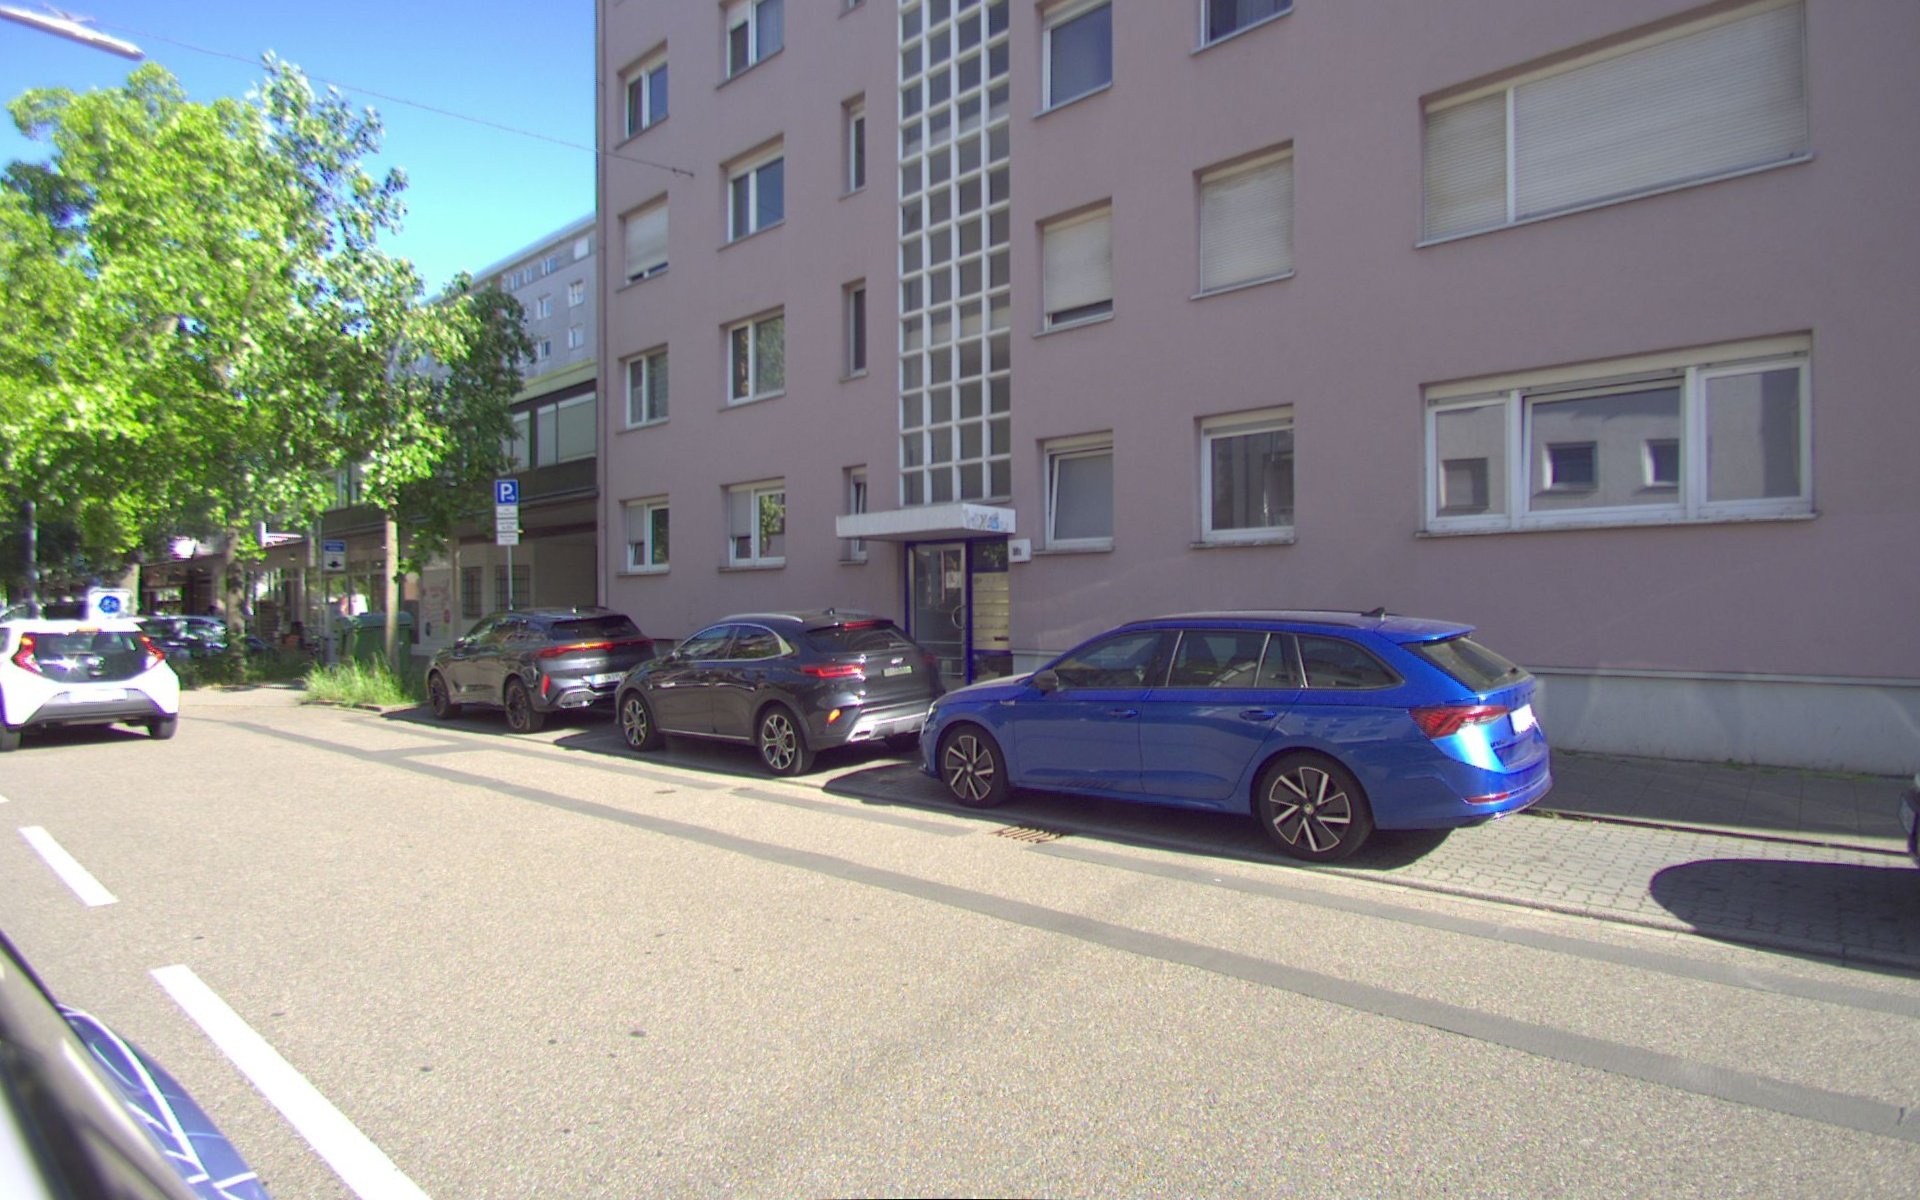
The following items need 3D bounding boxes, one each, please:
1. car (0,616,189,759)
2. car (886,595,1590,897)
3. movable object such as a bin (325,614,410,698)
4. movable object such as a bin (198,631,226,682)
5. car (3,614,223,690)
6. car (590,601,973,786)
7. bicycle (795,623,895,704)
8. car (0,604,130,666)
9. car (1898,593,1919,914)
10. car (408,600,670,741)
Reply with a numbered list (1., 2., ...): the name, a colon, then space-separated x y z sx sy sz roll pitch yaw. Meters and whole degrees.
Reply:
1. car: -11.548 0.999 12.820 3.776 1.548 1.750 -1 -1 34
2. car: 1.715 0.783 7.322 4.610 1.476 1.700 -1 1 41
3. movable object such as a bin: -11.576 1.063 19.774 1.230 1.557 1.019 0 -1 -44
4. movable object such as a bin: -18.489 1.381 25.023 0.409 1.234 0.482 -1 -1 41
5. car: -20.973 1.226 25.168 1.999 1.687 3.945 -1 -1 41
6. car: -2.047 0.839 10.801 4.245 1.519 1.798 -1 1 43
7. bicycle: -1.688 0.893 14.713 1.649 1.084 0.387 -1 3 42
8. car: -31.285 1.168 34.825 1.999 2.047 3.945 -1 -1 41
9. car: 6.316 0.667 3.197 4.812 1.477 1.699 -1 0 41
10. car: -6.052 0.892 14.332 4.141 1.604 1.798 -1 2 43
